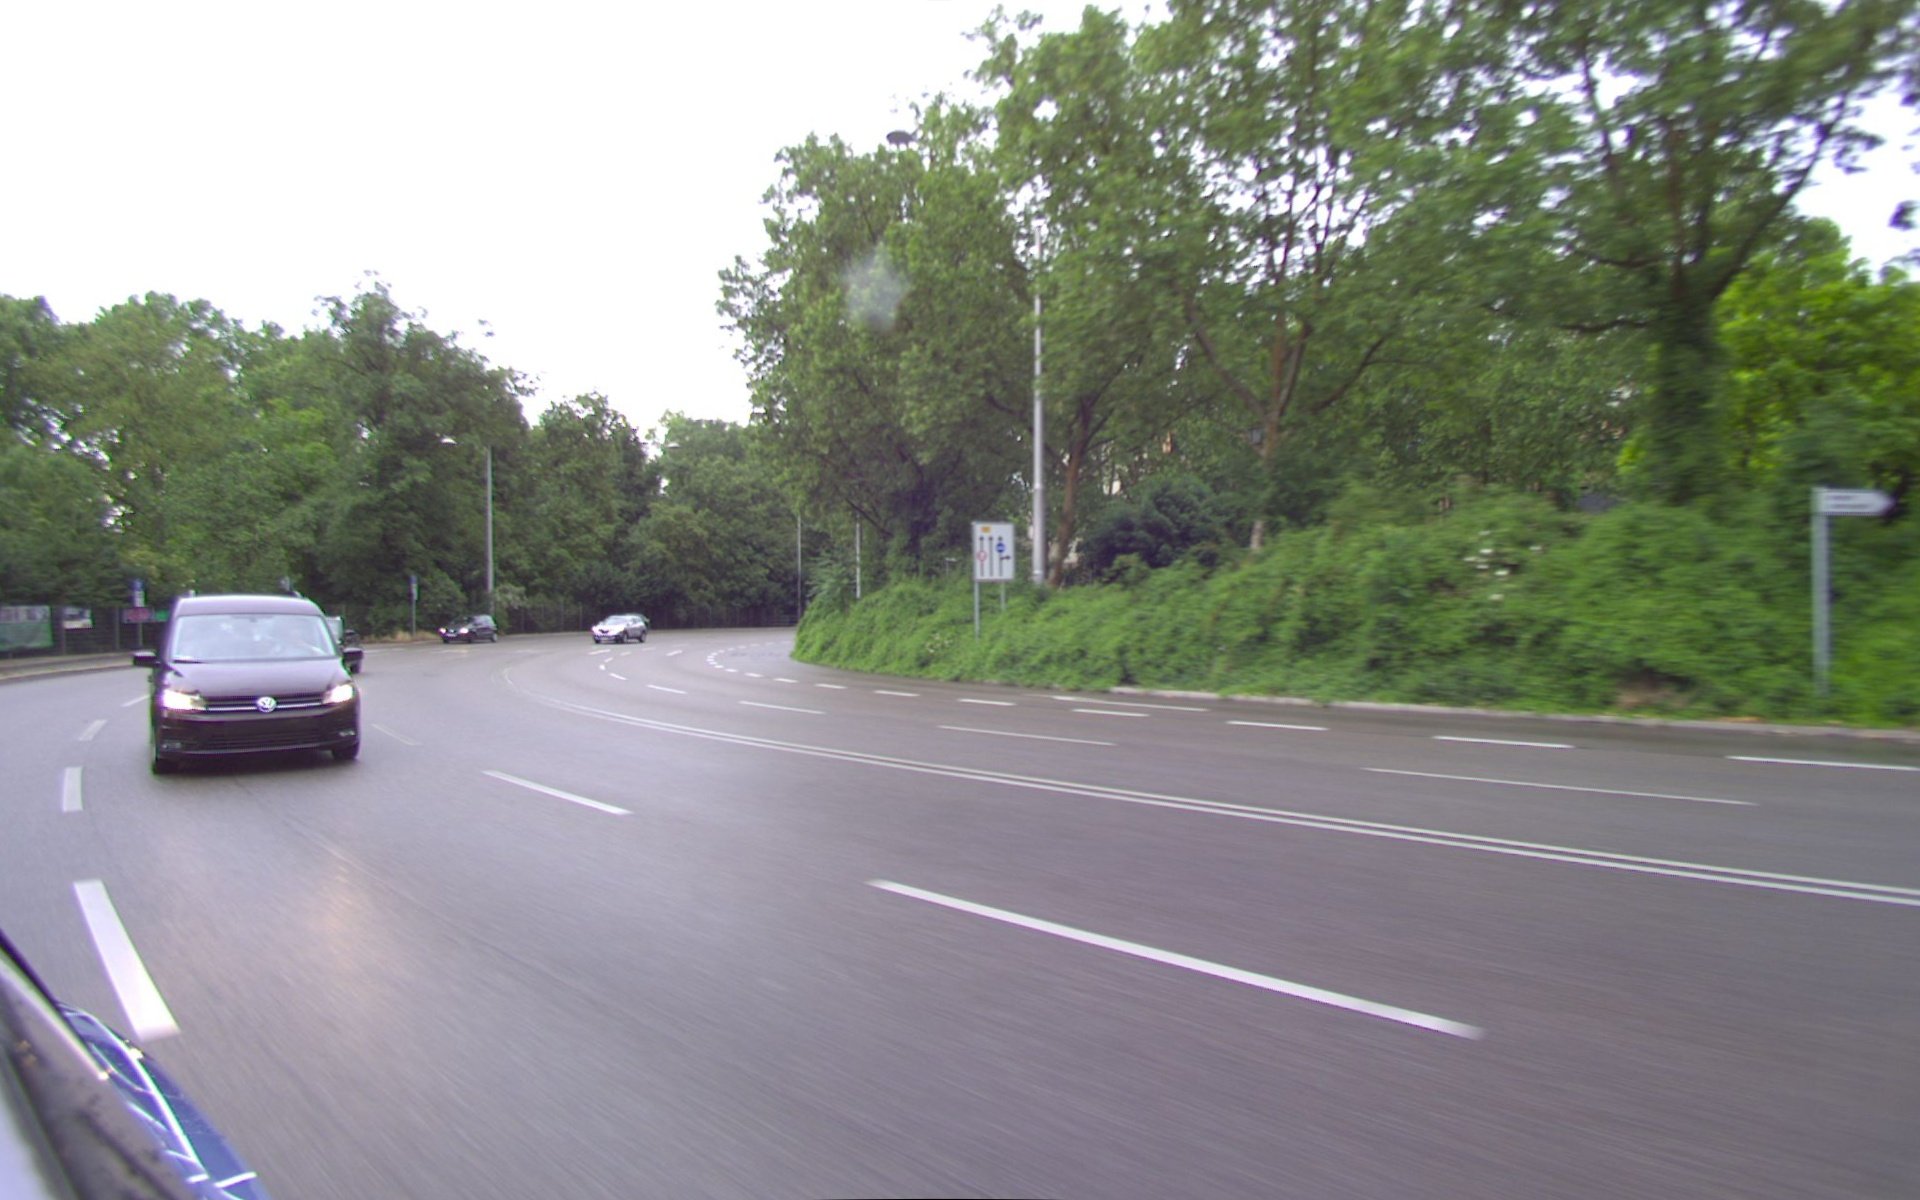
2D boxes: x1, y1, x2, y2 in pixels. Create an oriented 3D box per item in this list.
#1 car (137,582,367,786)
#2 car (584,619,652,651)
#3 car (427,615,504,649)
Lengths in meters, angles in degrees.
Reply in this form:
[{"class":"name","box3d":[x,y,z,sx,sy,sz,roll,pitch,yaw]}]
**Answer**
[{"class":"car","box3d":[-7.933,0.789,11.171,1.768,1.813,4.132,1,-2,-39]},{"class":"car","box3d":[-19.944,2.037,59.262,1.976,1.758,4.645,0,-1,7]},{"class":"car","box3d":[-27.008,1.718,55.423,1.975,1.758,3.993,0,-1,6]}]
